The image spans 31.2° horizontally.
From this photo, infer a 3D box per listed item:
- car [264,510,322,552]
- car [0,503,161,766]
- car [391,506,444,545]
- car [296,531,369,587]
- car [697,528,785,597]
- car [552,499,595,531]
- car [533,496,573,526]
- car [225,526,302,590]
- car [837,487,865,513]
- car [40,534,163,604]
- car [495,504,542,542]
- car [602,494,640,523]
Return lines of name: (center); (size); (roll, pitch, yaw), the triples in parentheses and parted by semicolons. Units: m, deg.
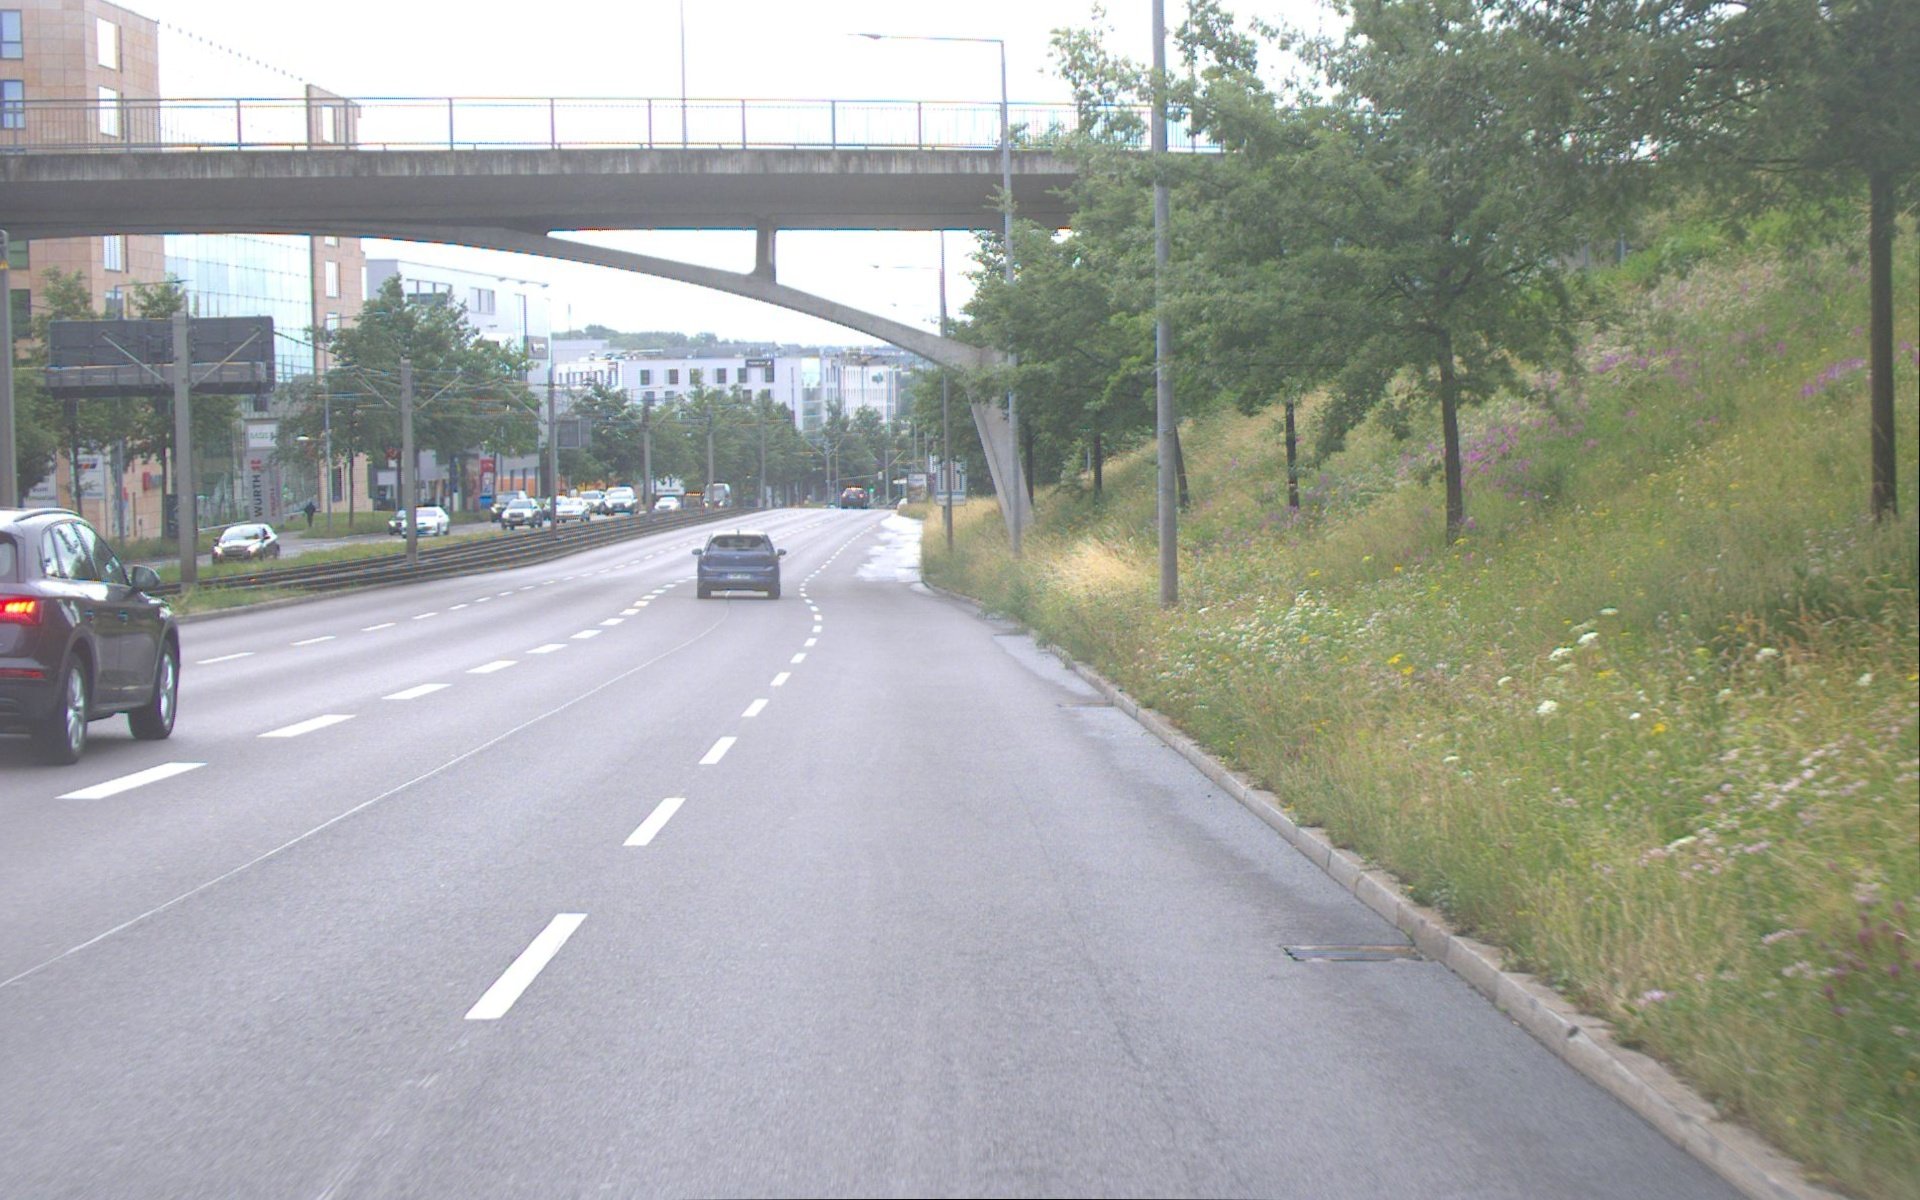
car: (-31.937, -3.295, 164.761); (1.993, 2.007, 4.000); (0, 1, 0)
car: (-6.723, 0.177, 23.367); (1.751, 1.612, 4.749); (0, 1, -4)
car: (-27.492, -3.800, 174.399); (1.993, 1.729, 4.249); (1, 4, 0)
car: (-21.887, -1.433, 120.081); (1.993, 1.700, 4.001); (1, 4, -3)
car: (-4.695, -0.820, 74.130); (1.748, 1.415, 3.479); (0, 2, -1)
car: (-22.952, -5.055, 204.331); (1.993, 1.729, 4.249); (1, 4, 0)
car: (-25.888, -5.663, 218.810); (1.993, 1.729, 4.249); (1, 4, 0)
car: (-24.316, -1.483, 120.104); (1.993, 2.006, 4.001); (1, 4, -2)
car: (-8.239, -7.556, 259.041); (1.862, 1.743, 4.002); (1, 4, -5)
car: (-17.850, -0.667, 71.630); (1.748, 1.415, 3.478); (0, 1, -1)
car: (-23.488, -4.084, 182.977); (1.993, 2.007, 4.000); (0, 1, 0)
car: (-22.386, -6.047, 227.172); (1.993, 1.729, 4.249); (1, 4, 0)
